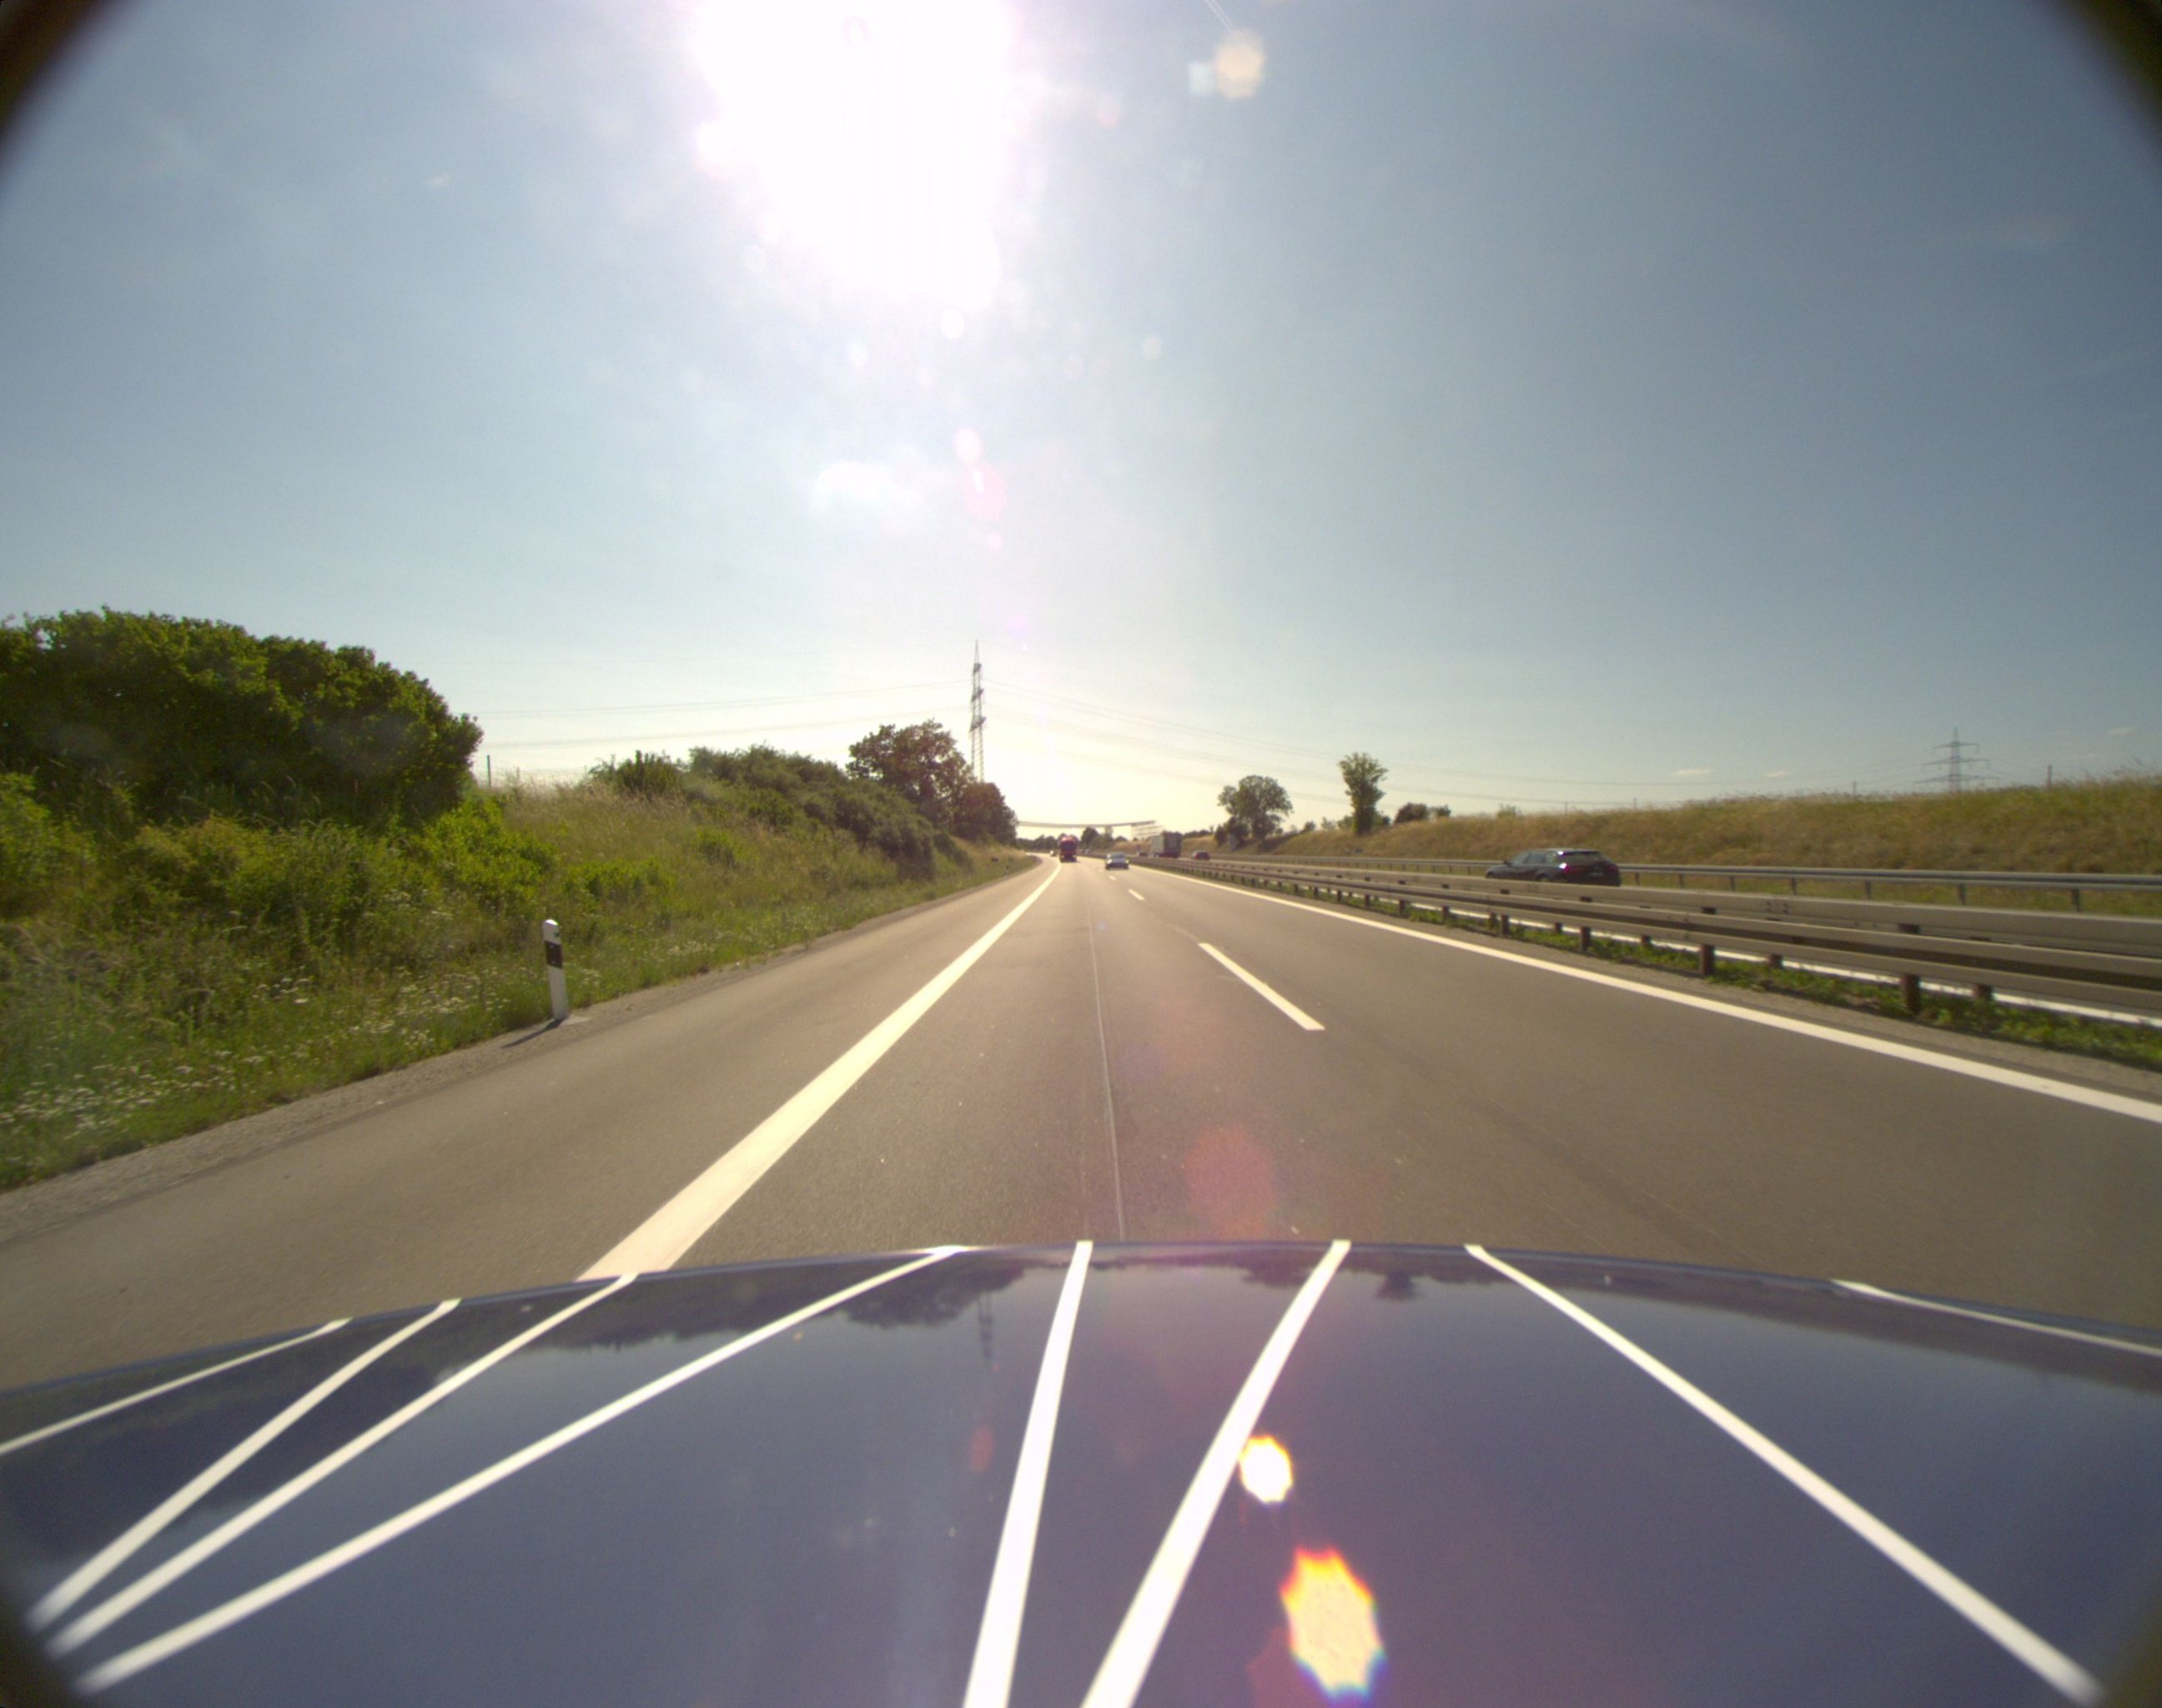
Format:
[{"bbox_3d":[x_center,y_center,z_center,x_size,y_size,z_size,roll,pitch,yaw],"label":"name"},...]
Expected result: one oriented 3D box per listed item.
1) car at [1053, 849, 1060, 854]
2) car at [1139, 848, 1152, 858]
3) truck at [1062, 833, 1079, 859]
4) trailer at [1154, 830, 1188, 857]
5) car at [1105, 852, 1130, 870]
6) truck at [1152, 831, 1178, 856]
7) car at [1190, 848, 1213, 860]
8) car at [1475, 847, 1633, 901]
[{"bbox_3d":[-7.151,-0.633,219.329,1.910,1.422,4.553,-2,1,0],"label":"car"},{"bbox_3d":[10.096,-0.144,118.986,1.589,1.422,3.926,-2,1,0],"label":"car"},{"bbox_3d":[-1.680,-1.281,121.277,2.571,3.939,8.642,-2,1,0],"label":"truck"},{"bbox_3d":[14.308,-1.659,121.877,3.624,3.976,14.045,-2,1,0],"label":"trailer"},{"bbox_3d":[3.076,0.572,65.812,1.852,1.424,5.865,1,1,0],"label":"car"},{"bbox_3d":[14.264,-1.749,129.102,3.624,3.976,6.122,-2,1,0],"label":"truck"},{"bbox_3d":[14.475,-0.022,91.401,1.910,1.352,4.553,-2,1,0],"label":"car"},{"bbox_3d":[14.527,0.531,23.772,1.729,1.459,5.241,-1,0,0],"label":"car"}]
